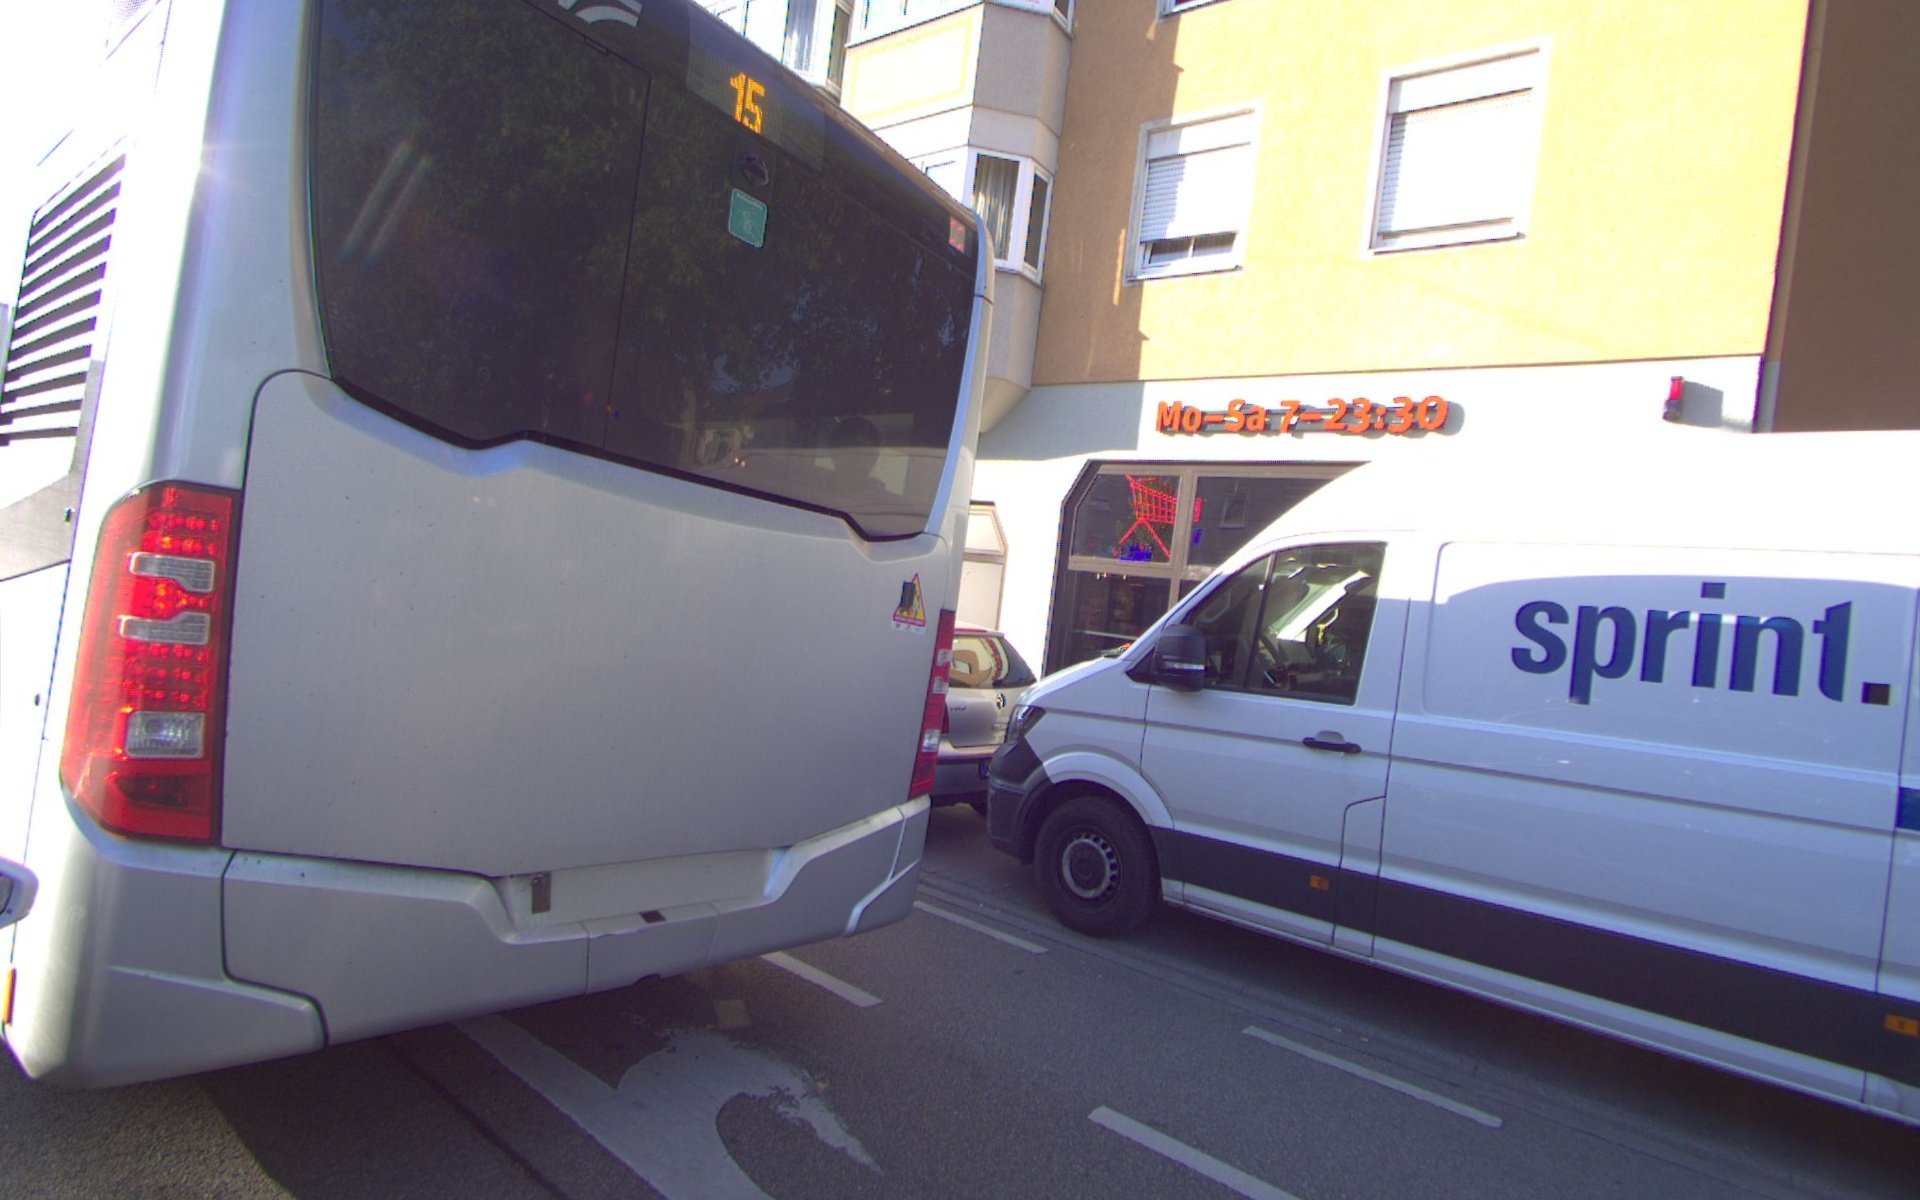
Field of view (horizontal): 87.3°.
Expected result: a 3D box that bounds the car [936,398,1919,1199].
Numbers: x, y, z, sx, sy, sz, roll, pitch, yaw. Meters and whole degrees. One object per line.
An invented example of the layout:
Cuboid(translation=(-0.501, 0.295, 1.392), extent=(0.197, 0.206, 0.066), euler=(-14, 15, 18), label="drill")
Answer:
Cuboid(translation=(2.786, 0.600, 4.614), extent=(5.699, 2.586, 2.013), euler=(6, 3, 39), label="car")

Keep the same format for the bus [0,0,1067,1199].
Cuboid(translation=(-4.000, -0.473, 5.370), extent=(8.723, 3.091, 2.739), euler=(7, -2, 39), label="bus")

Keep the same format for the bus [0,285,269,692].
Cuboid(translation=(-10.829, -1.243, 10.961), extent=(8.997, 3.091, 2.739), euler=(7, -2, 39), label="bus")

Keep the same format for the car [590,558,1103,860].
Cuboid(translation=(-1.019, 0.688, 7.976), extent=(3.730, 1.607, 1.837), euler=(7, 0, 39), label="car")
